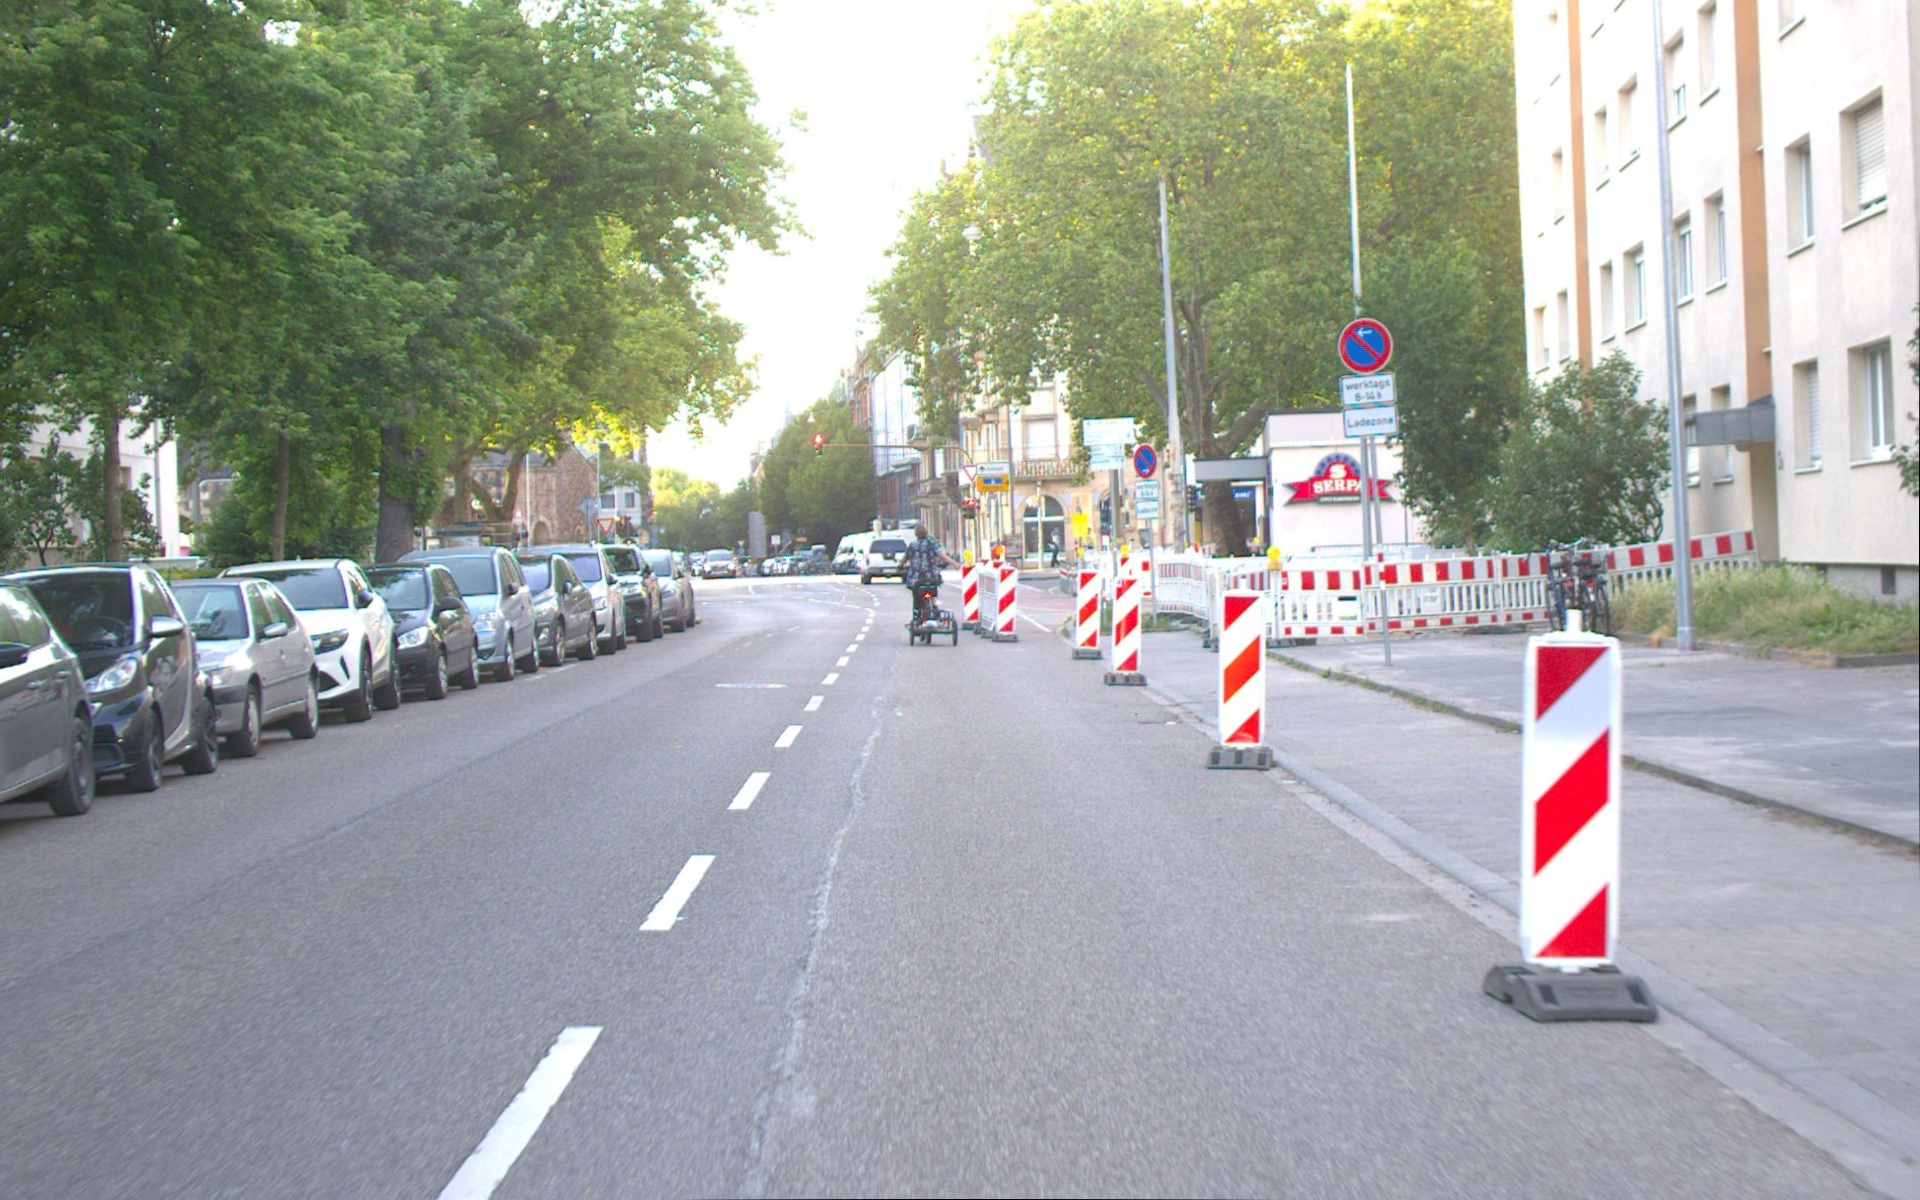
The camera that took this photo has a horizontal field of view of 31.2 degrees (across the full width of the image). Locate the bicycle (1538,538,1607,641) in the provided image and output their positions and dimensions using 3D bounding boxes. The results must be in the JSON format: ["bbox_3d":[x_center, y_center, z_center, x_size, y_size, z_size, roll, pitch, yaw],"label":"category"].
[{"bbox_3d":[7.456,-0.135,41.916,0.398,1.217,1.911,-1,1,-3],"label":"bicycle"}]

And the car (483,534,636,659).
[{"bbox_3d":[-6.014,-0.085,52.063,1.846,1.685,4.860,-4,1,-2],"label":"car"}]

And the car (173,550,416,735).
[{"bbox_3d":[-6.310,0.356,32.987,1.590,1.533,4.207,-5,1,-3],"label":"car"}]

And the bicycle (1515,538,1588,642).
[{"bbox_3d":[7.182,-0.133,41.824,0.451,1.217,1.911,-1,1,-3],"label":"bicycle"}]

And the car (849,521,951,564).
[{"bbox_3d":[-3.369,-3.232,193.445,5.807,2.280,2.071,-2,1,-43],"label":"car"}]

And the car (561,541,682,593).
[{"bbox_3d":[-11.511,-1.118,117.042,3.986,1.580,1.872,-3,1,-5],"label":"car"}]

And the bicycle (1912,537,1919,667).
[{"bbox_3d":[8.853,0.023,30.131,0.556,1.168,1.817,-1,1,2],"label":"bicycle"}]

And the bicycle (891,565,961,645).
[{"bbox_3d":[-0.543,0.068,53.998,0.939,1.168,2.359,-4,0,-3],"label":"bicycle"}]

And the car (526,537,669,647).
[{"bbox_3d":[-6.202,-0.165,59.317,1.953,1.713,4.771,-4,1,-1],"label":"car"}]

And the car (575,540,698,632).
[{"bbox_3d":[-6.279,-0.293,67.156,1.953,1.611,4.605,-4,1,-1],"label":"car"}]

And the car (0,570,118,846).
[{"bbox_3d":[-5.973,0.629,19.160,1.590,1.461,4.102,-5,1,-2],"label":"car"}]

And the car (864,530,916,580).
[{"bbox_3d":[-2.690,-1.723,131.118,1.866,1.808,4.000,-3,1,-2],"label":"car"}]

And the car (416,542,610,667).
[{"bbox_3d":[-6.003,0.023,46.603,1.733,1.492,4.270,-4,1,4],"label":"car"}]

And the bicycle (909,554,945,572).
[{"bbox_3d":[-1.812,-2.013,187.229,1.914,0.965,0.546,-2,1,-2],"label":"bicycle"}]

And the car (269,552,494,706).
[{"bbox_3d":[-6.222,0.274,37.354,1.707,1.447,3.843,-5,1,0],"label":"car"}]

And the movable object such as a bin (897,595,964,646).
[{"bbox_3d":[-0.450,0.306,52.320,0.939,0.686,0.993,-4,0,-3],"label":"movable object such as a bin"}]

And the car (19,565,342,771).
[{"bbox_3d":[-6.201,0.488,27.780,1.590,1.399,4.181,-5,1,0],"label":"car"}]

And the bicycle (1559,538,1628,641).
[{"bbox_3d":[7.708,-0.137,41.849,0.398,1.217,1.826,-1,1,-3],"label":"bicycle"}]

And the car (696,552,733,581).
[{"bbox_3d":[-14.141,-1.920,197.898,1.781,1.645,3.822,0,1,-9],"label":"car"}]

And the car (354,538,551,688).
[{"bbox_3d":[-6.108,0.125,41.798,1.707,1.595,4.117,-5,1,-1],"label":"car"}]

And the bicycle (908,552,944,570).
[{"bbox_3d":[-1.838,-2.125,186.948,1.914,0.965,0.546,-2,1,-2],"label":"bicycle"}]

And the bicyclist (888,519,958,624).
[{"bbox_3d":[-0.583,-0.444,54.022,0.939,1.576,1.146,-4,0,-3],"label":"bicyclist"}]

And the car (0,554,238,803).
[{"bbox_3d":[-6.061,0.507,23.613,1.523,1.524,3.165,-5,1,-2],"label":"car"}]
